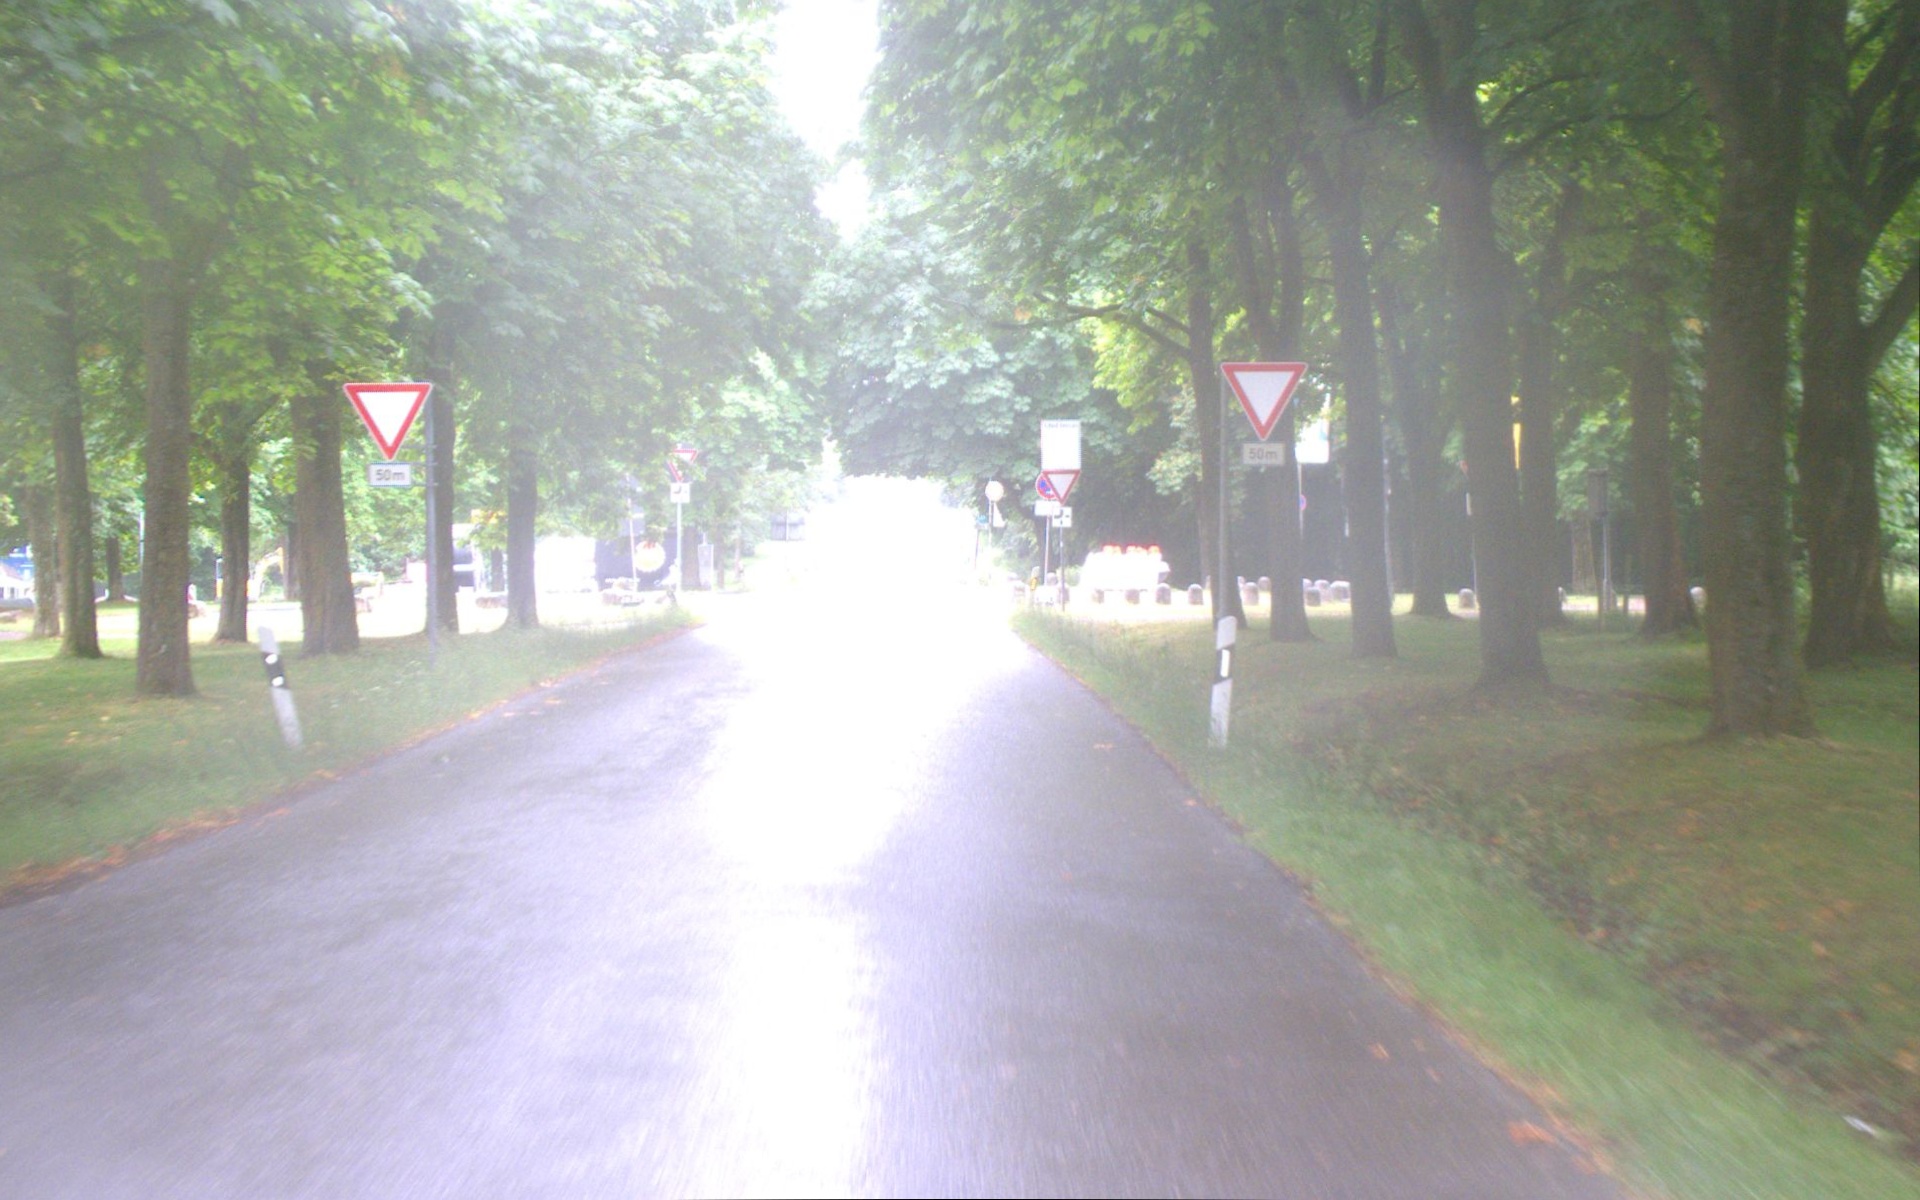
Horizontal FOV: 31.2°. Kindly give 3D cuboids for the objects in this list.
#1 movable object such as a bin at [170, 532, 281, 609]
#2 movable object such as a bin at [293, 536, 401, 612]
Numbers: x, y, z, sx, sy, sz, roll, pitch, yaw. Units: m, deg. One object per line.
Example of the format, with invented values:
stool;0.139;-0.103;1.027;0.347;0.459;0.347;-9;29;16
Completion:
movable object such as a bin;-32.228;-1.284;150.910;4.653;3.283;3.915;-1;0;-12
movable object such as a bin;-27.239;-1.169;152.590;4.580;3.283;3.667;-1;0;-12
